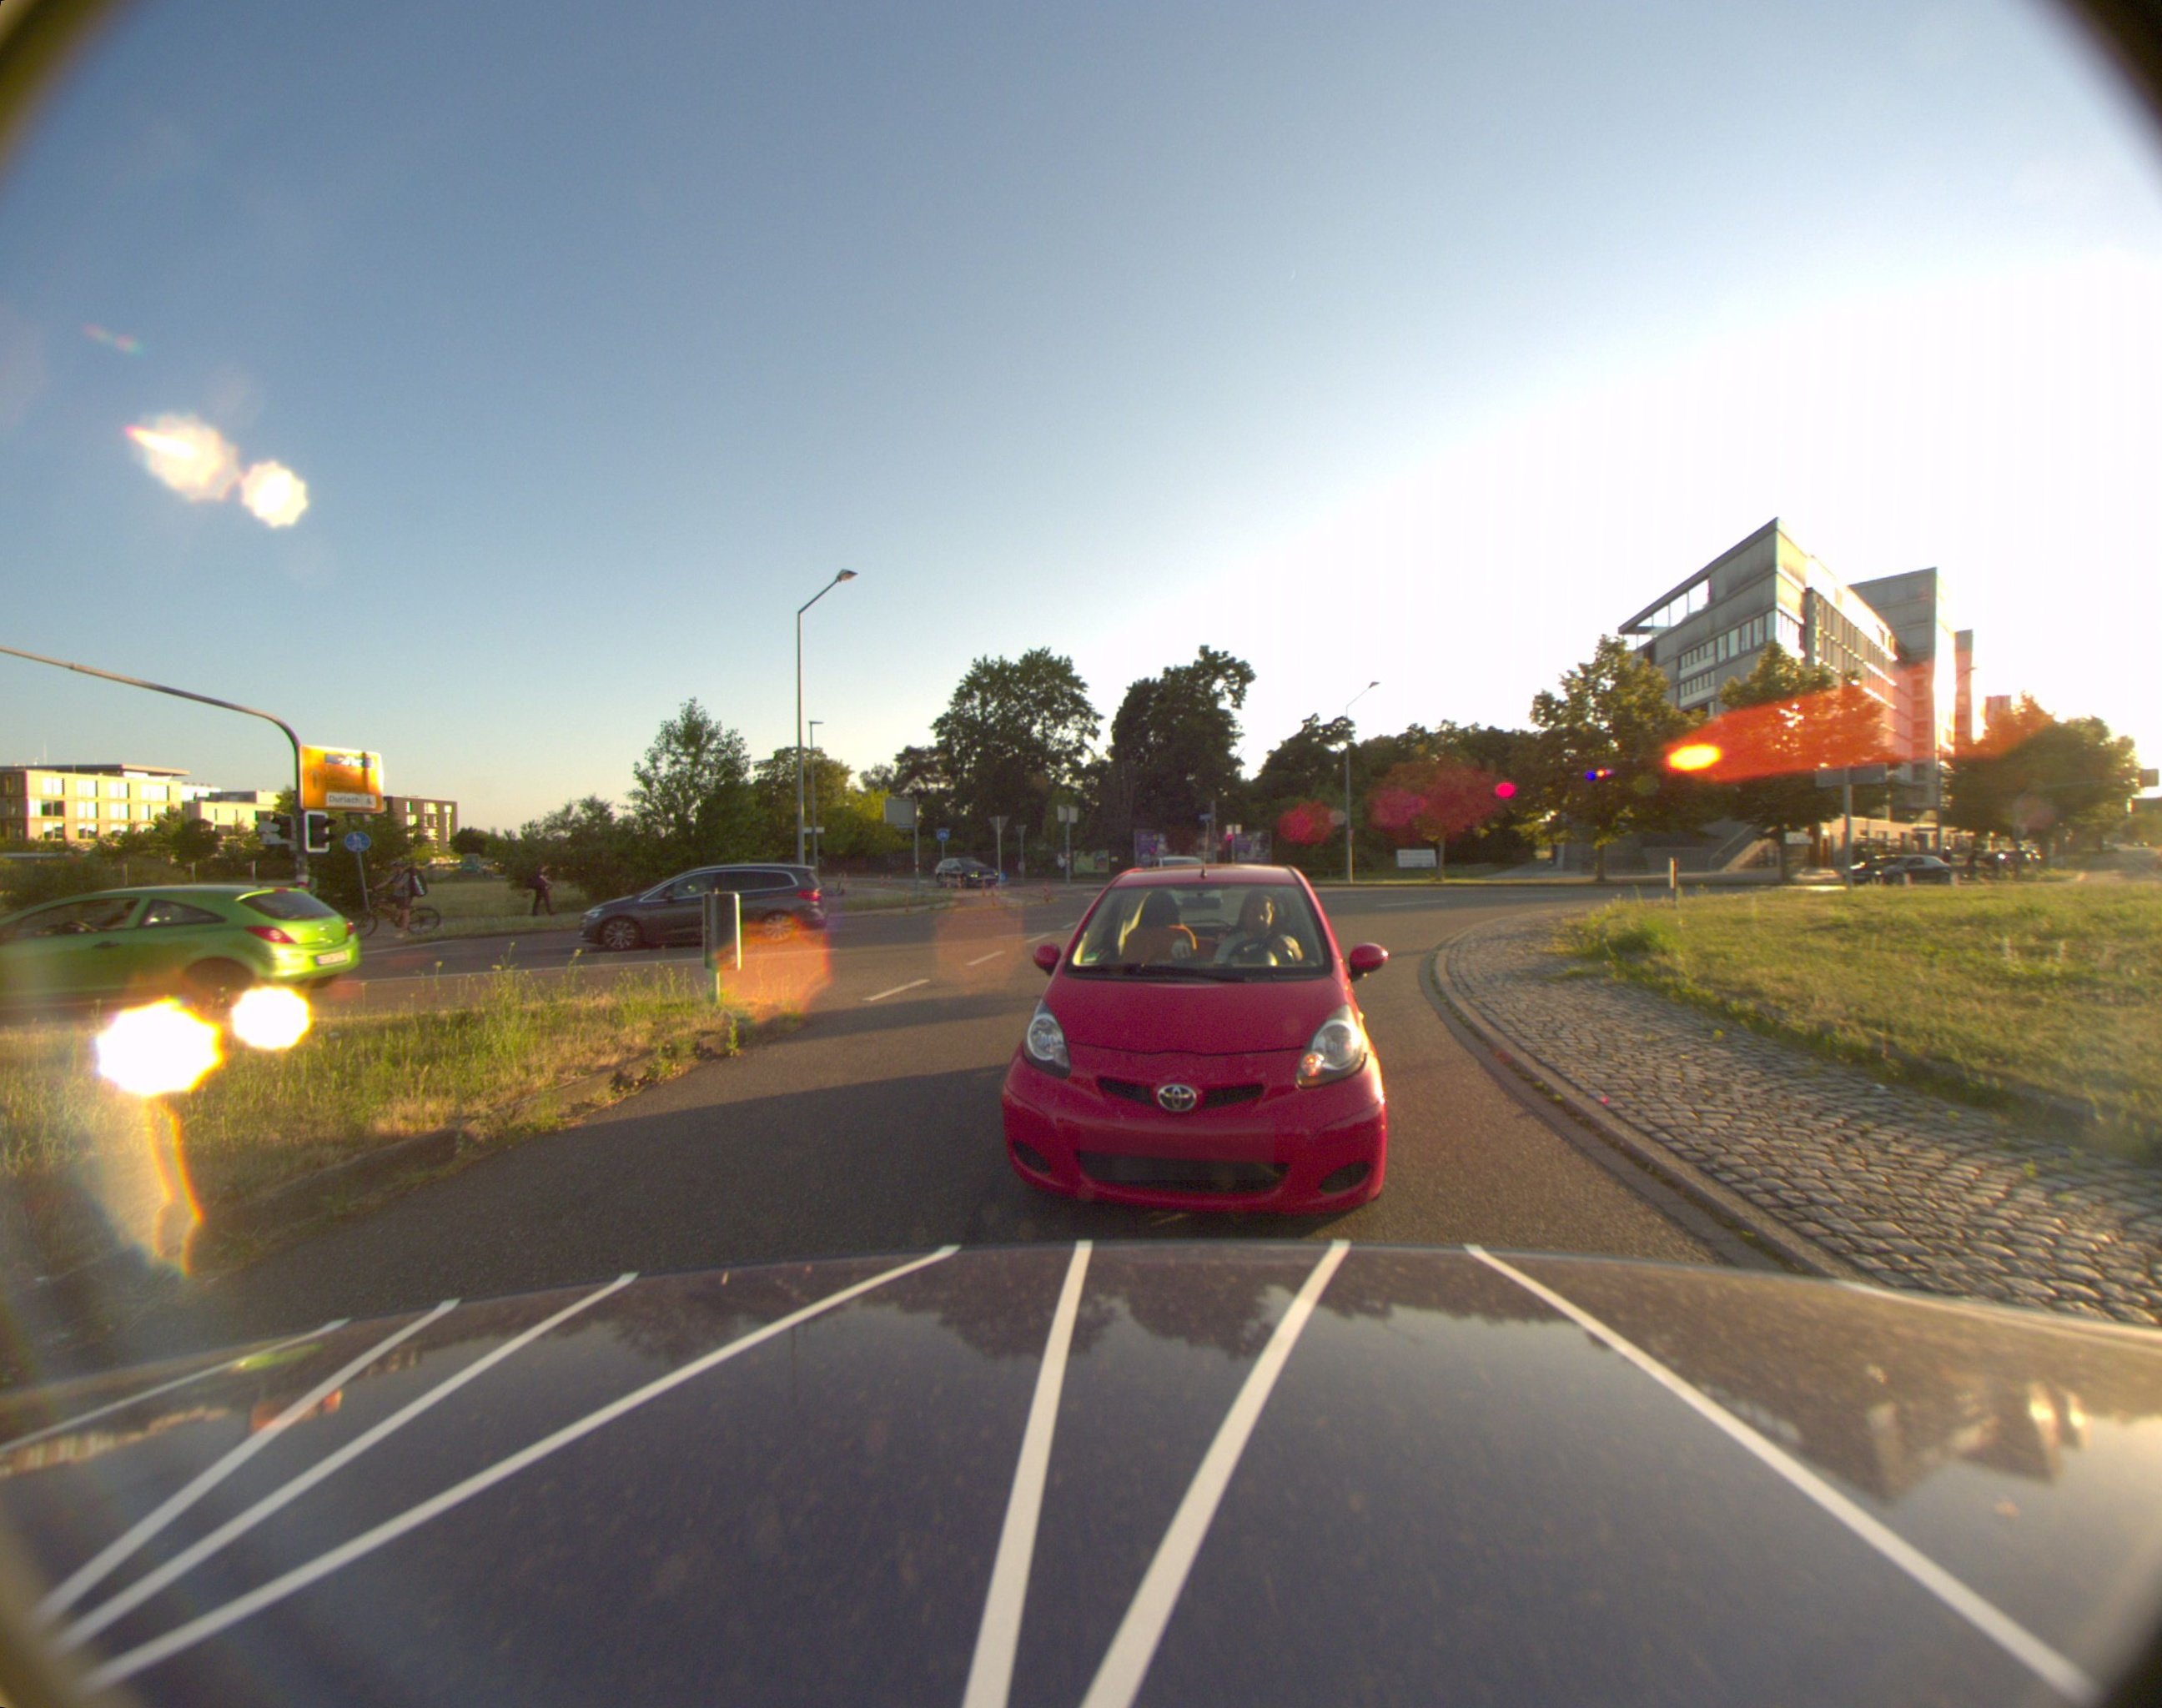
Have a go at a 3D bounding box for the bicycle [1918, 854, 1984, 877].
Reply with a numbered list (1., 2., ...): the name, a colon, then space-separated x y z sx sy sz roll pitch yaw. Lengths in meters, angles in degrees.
1. bicycle: 47.083 0.622 41.136 0.744 1.237 2.341 -2 1 -41

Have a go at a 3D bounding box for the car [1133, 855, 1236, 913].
1. car: 3.107 0.841 23.673 2.000 1.597 4.194 -1 0 -9

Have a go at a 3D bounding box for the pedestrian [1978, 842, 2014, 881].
1. pedestrian: 49.263 0.393 40.908 0.776 2.002 0.998 -2 1 -11

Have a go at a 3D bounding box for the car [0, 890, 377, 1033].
1. car: -11.509 1.240 9.217 4.002 1.412 1.687 -1 1 -14

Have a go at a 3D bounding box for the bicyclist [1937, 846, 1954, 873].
1. bicyclist: 46.970 0.303 41.278 0.693 1.432 0.610 -2 1 -42

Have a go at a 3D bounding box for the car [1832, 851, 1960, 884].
1. car: 35.994 0.568 33.590 4.125 1.371 1.750 -1 0 -7

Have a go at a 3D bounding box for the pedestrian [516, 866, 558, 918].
1. pedestrian: -17.193 1.181 24.031 0.993 1.581 0.924 -1 1 -33

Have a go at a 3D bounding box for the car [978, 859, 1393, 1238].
1. car: 0.838 0.786 5.091 1.687 1.412 4.004 -1 0 13

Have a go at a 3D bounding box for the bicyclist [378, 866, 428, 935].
1. bicyclist: -17.149 1.162 19.229 0.723 1.680 0.690 -1 1 28

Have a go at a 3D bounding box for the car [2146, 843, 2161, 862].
1. car: 84.564 -0.145 58.977 4.008 1.444 1.994 -1 1 -39

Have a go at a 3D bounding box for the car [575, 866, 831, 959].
1. car: -7.352 1.080 15.276 4.332 1.568 1.731 -1 1 -17

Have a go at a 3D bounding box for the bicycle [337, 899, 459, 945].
1. bicycle: -17.164 1.677 19.169 0.708 0.957 2.149 -1 0 26

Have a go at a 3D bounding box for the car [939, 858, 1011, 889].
1. car: -5.938 1.026 42.161 2.004 1.588 4.302 -1 1 -39
